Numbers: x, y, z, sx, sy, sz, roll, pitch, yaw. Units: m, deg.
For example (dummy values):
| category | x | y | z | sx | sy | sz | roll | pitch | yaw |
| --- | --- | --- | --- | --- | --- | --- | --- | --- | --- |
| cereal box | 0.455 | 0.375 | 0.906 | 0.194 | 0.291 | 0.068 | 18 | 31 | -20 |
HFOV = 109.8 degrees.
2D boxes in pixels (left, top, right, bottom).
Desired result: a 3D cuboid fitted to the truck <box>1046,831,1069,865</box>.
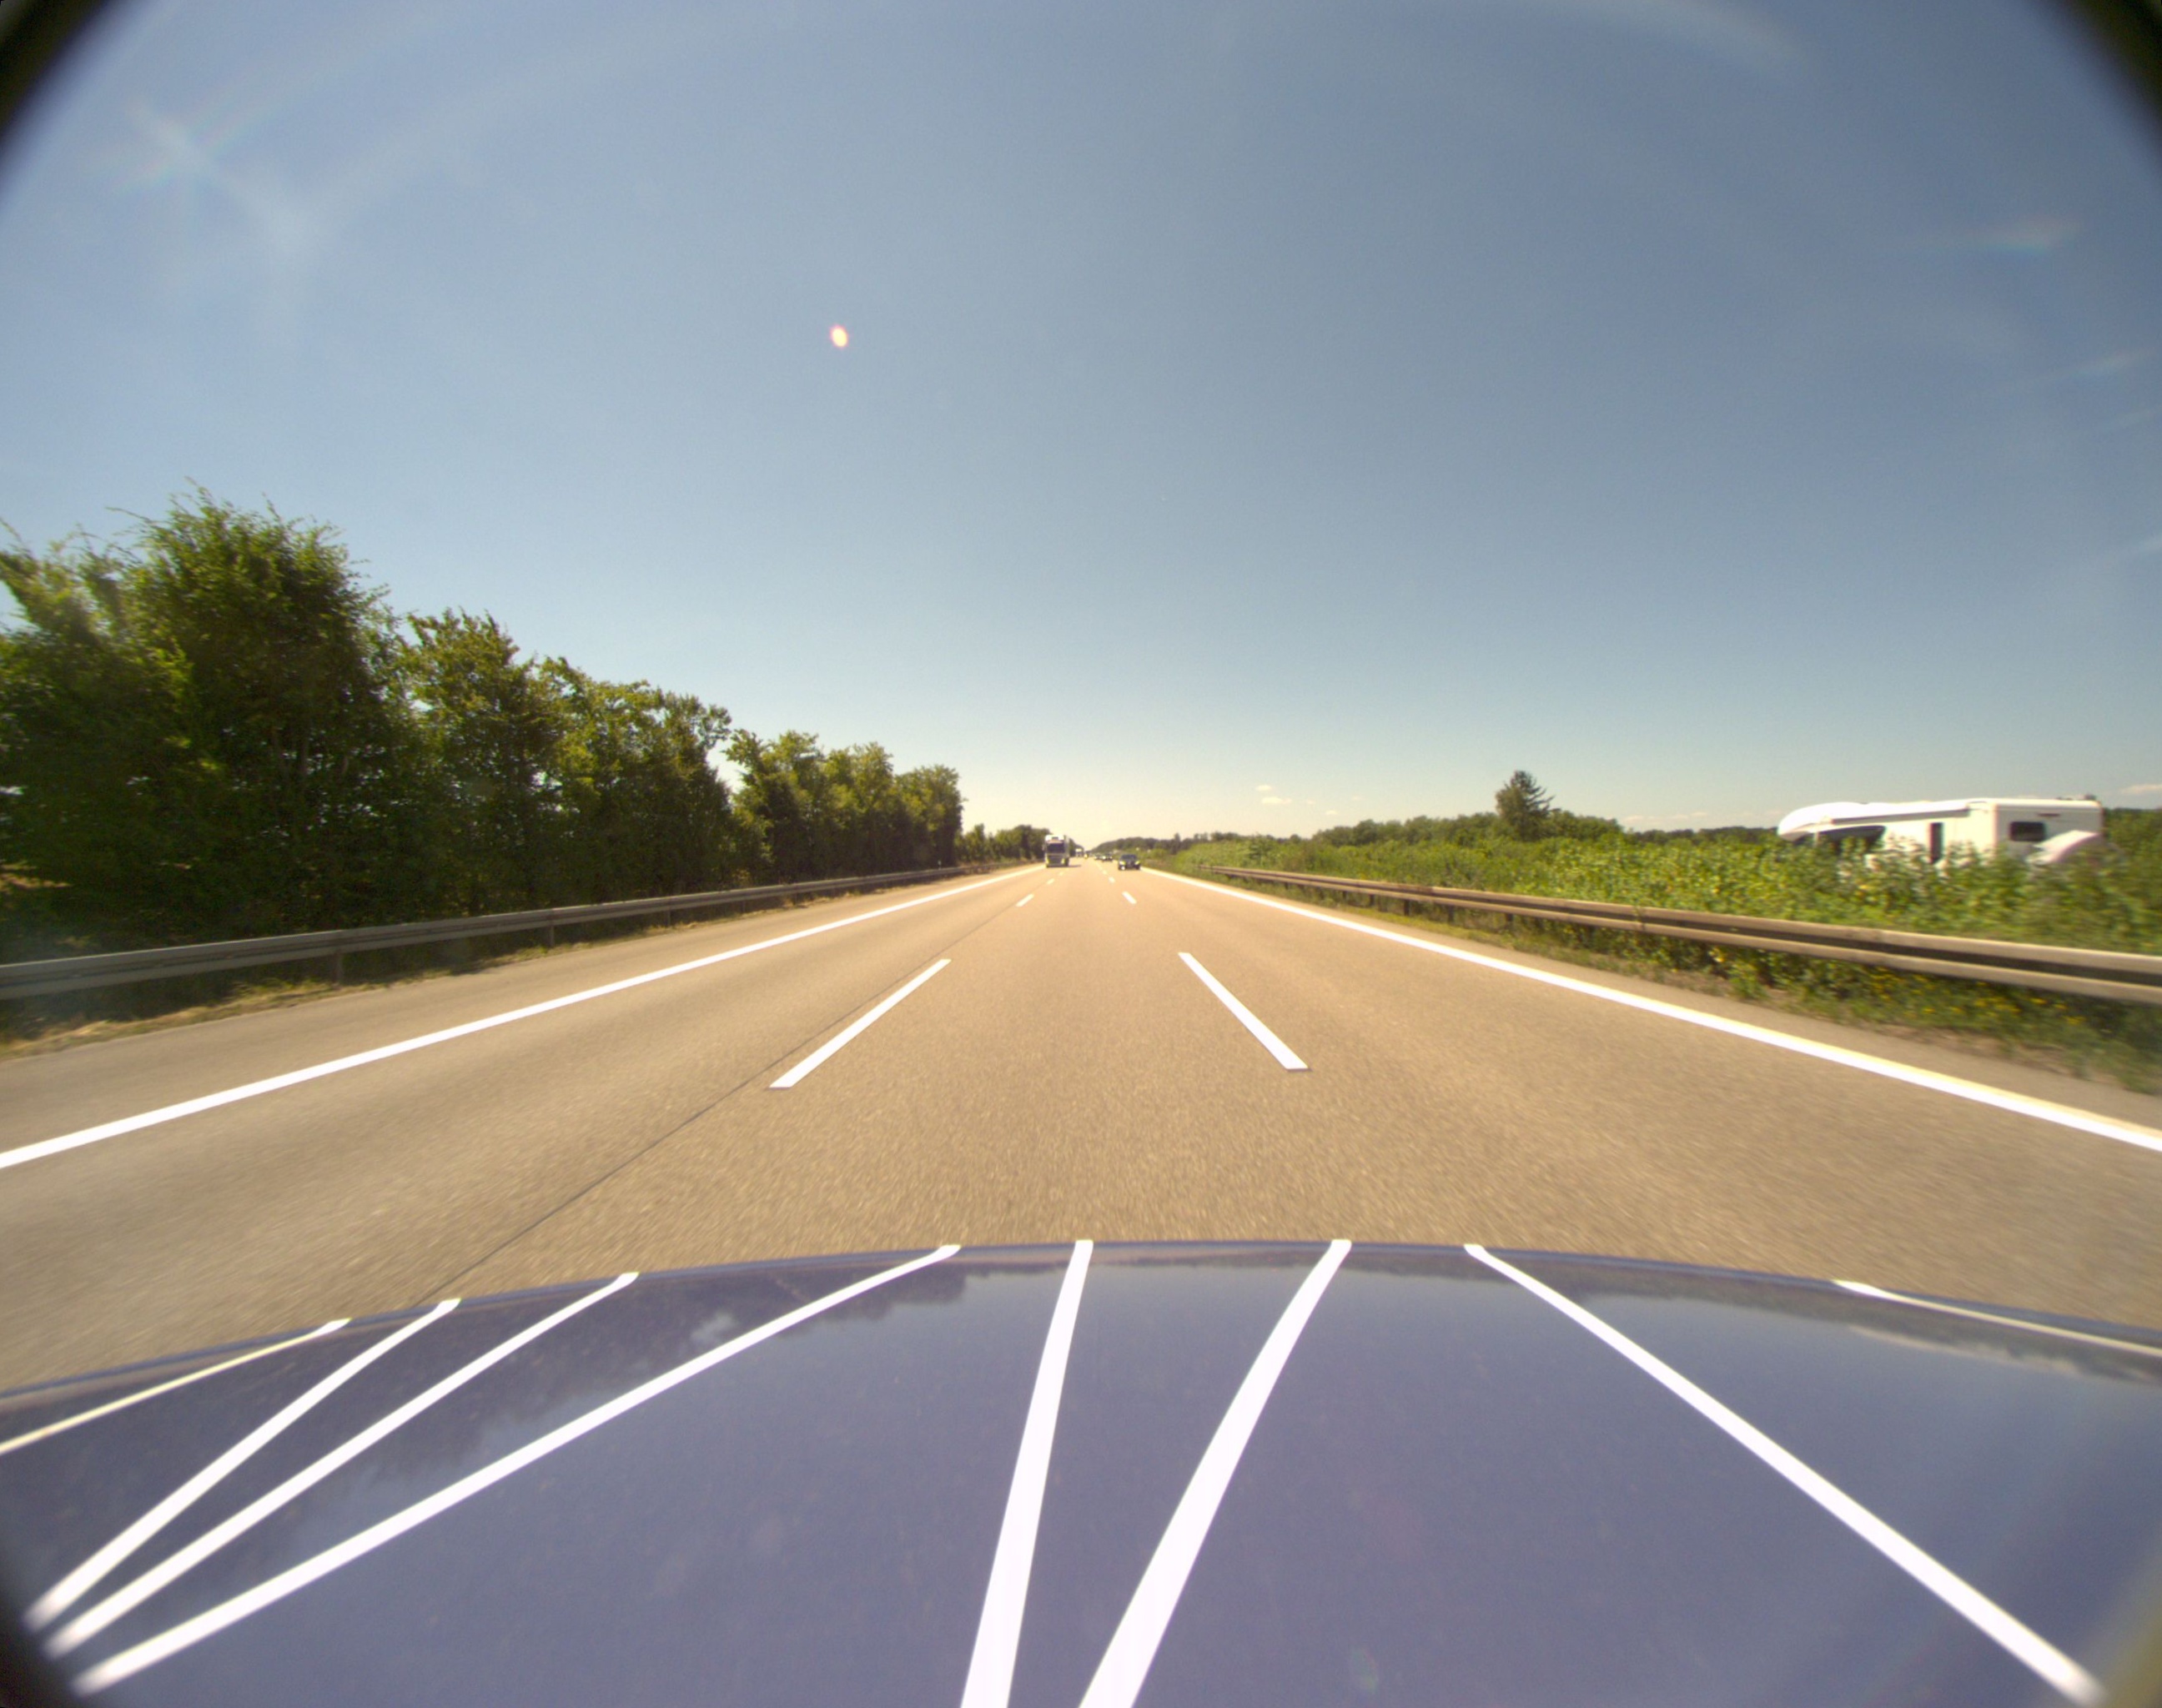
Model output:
| category | x | y | z | sx | sy | sz | roll | pitch | yaw |
| --- | --- | --- | --- | --- | --- | --- | --- | --- | --- |
| truck | -2.948 | -0.710 | 95.537 | 2.476 | 4.038 | 6.319 | -2 | 0 | 1 |

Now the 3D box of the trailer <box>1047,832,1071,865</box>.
| category | x | y | z | sx | sy | sz | roll | pitch | yaw |
| --- | --- | --- | --- | --- | --- | --- | --- | --- | --- |
| trailer | -2.871 | -0.749 | 101.956 | 2.476 | 4.038 | 13.879 | -2 | 0 | 1 |

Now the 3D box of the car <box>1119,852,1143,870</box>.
| category | x | y | z | sx | sy | sz | roll | pitch | yaw |
| --- | --- | --- | --- | --- | --- | --- | --- | --- | --- |
| car | 4.411 | 0.631 | 67.441 | 1.811 | 1.459 | 4.000 | -2 | 0 | 1 |

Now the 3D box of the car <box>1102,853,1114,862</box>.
| category | x | y | z | sx | sy | sz | roll | pitch | yaw |
| --- | --- | --- | --- | --- | --- | --- | --- | --- | --- |
| car | 4.735 | 0.652 | 133.462 | 1.811 | 1.417 | 4.000 | -2 | 0 | 1 |

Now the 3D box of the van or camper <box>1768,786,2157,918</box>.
| category | x | y | z | sx | sy | sz | roll | pitch | yaw |
| --- | --- | --- | --- | --- | --- | --- | --- | --- | --- |
| van or camper | 20.277 | -0.048 | 18.169 | 1.998 | 2.530 | 6.298 | -2 | 0 | 1 |

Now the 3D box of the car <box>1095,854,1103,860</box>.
| category | x | y | z | sx | sy | sz | roll | pitch | yaw |
| --- | --- | --- | --- | --- | --- | --- | --- | --- | --- |
| car | 4.163 | 0.721 | 175.089 | 1.811 | 1.417 | 4.000 | -2 | 0 | 1 |
